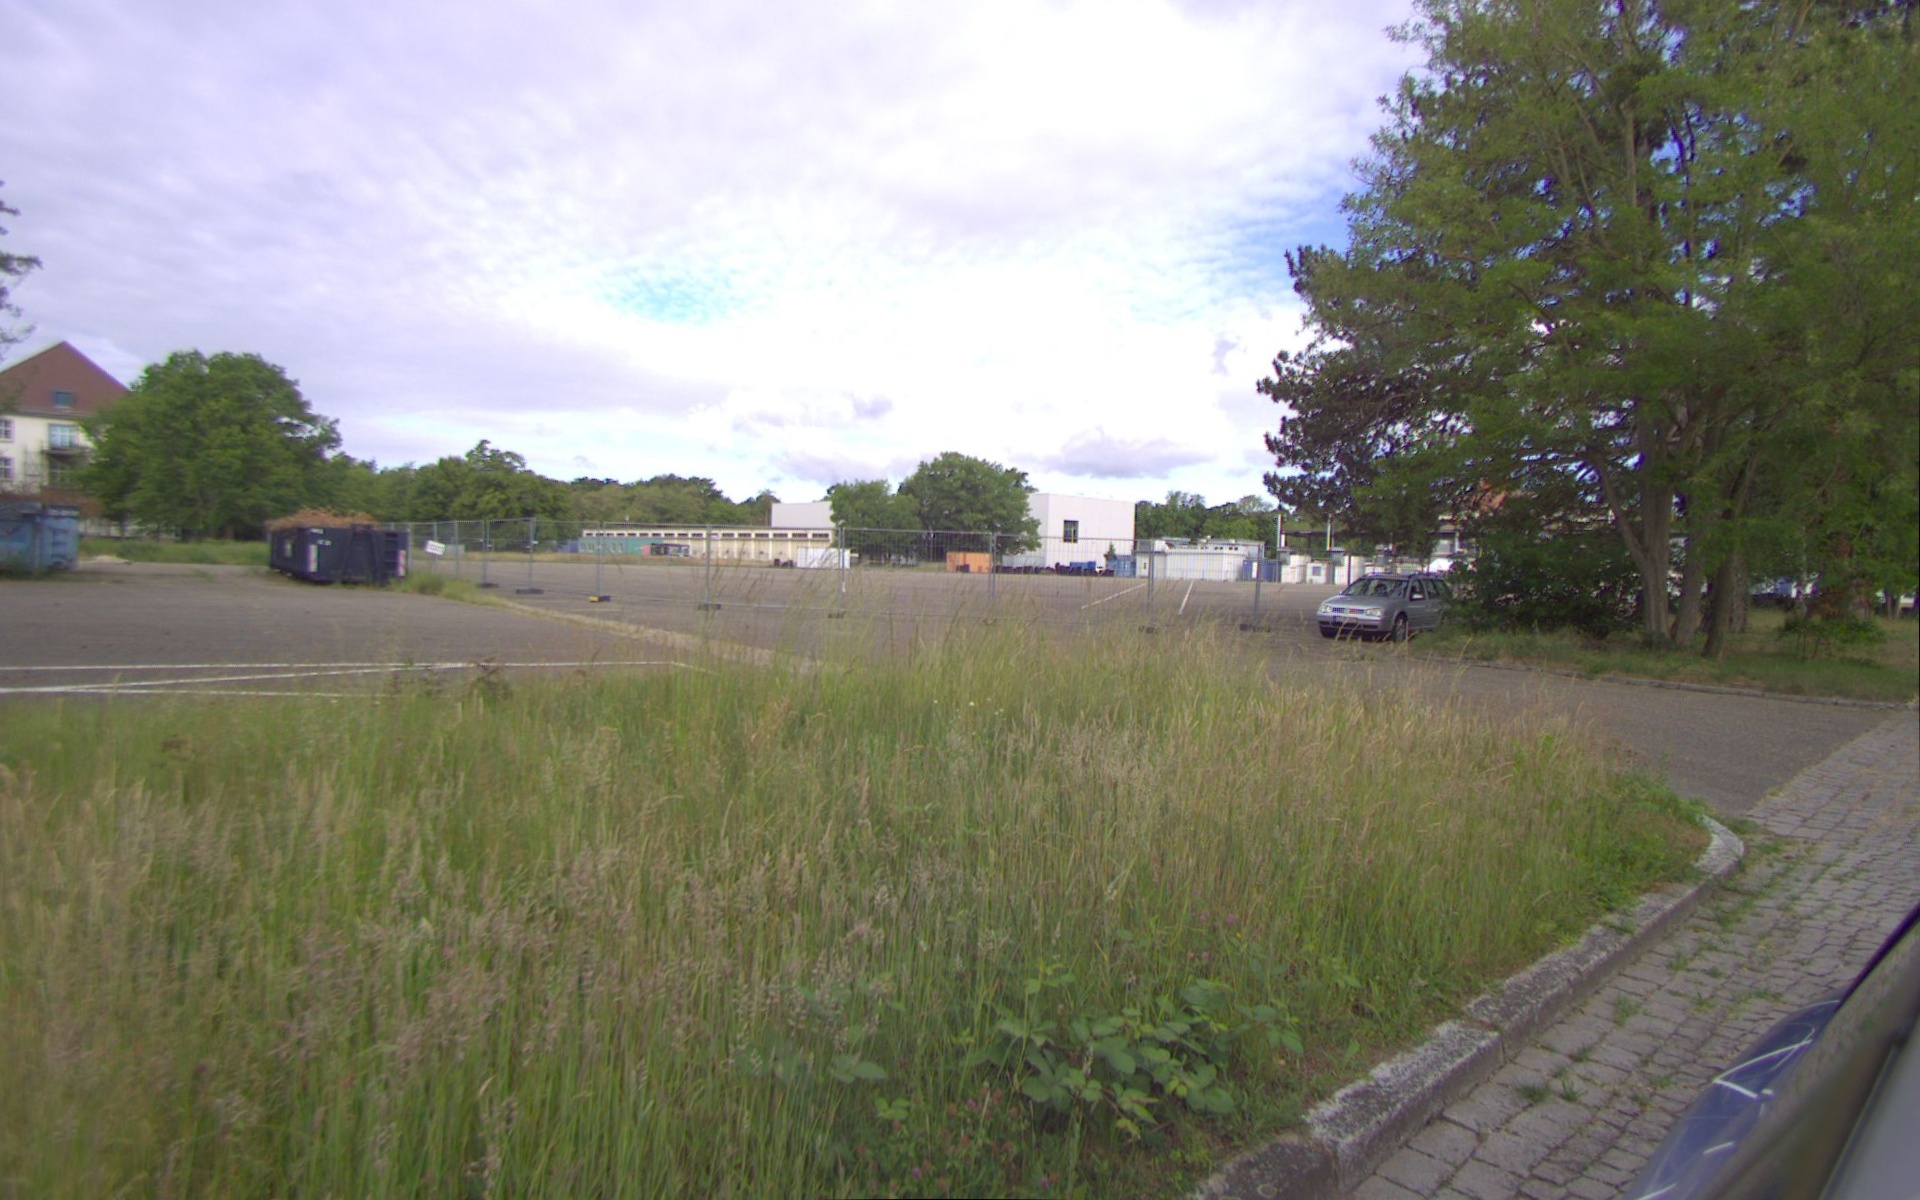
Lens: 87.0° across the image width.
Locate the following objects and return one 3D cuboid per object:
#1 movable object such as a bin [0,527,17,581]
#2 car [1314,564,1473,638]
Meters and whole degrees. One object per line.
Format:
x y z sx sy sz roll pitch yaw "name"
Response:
-21.061 -0.962 20.926 0.958 1.148 2.181 1 2 40 "movable object such as a bin"
9.788 -0.029 22.670 4.415 1.468 1.676 -1 3 -44 "car"
